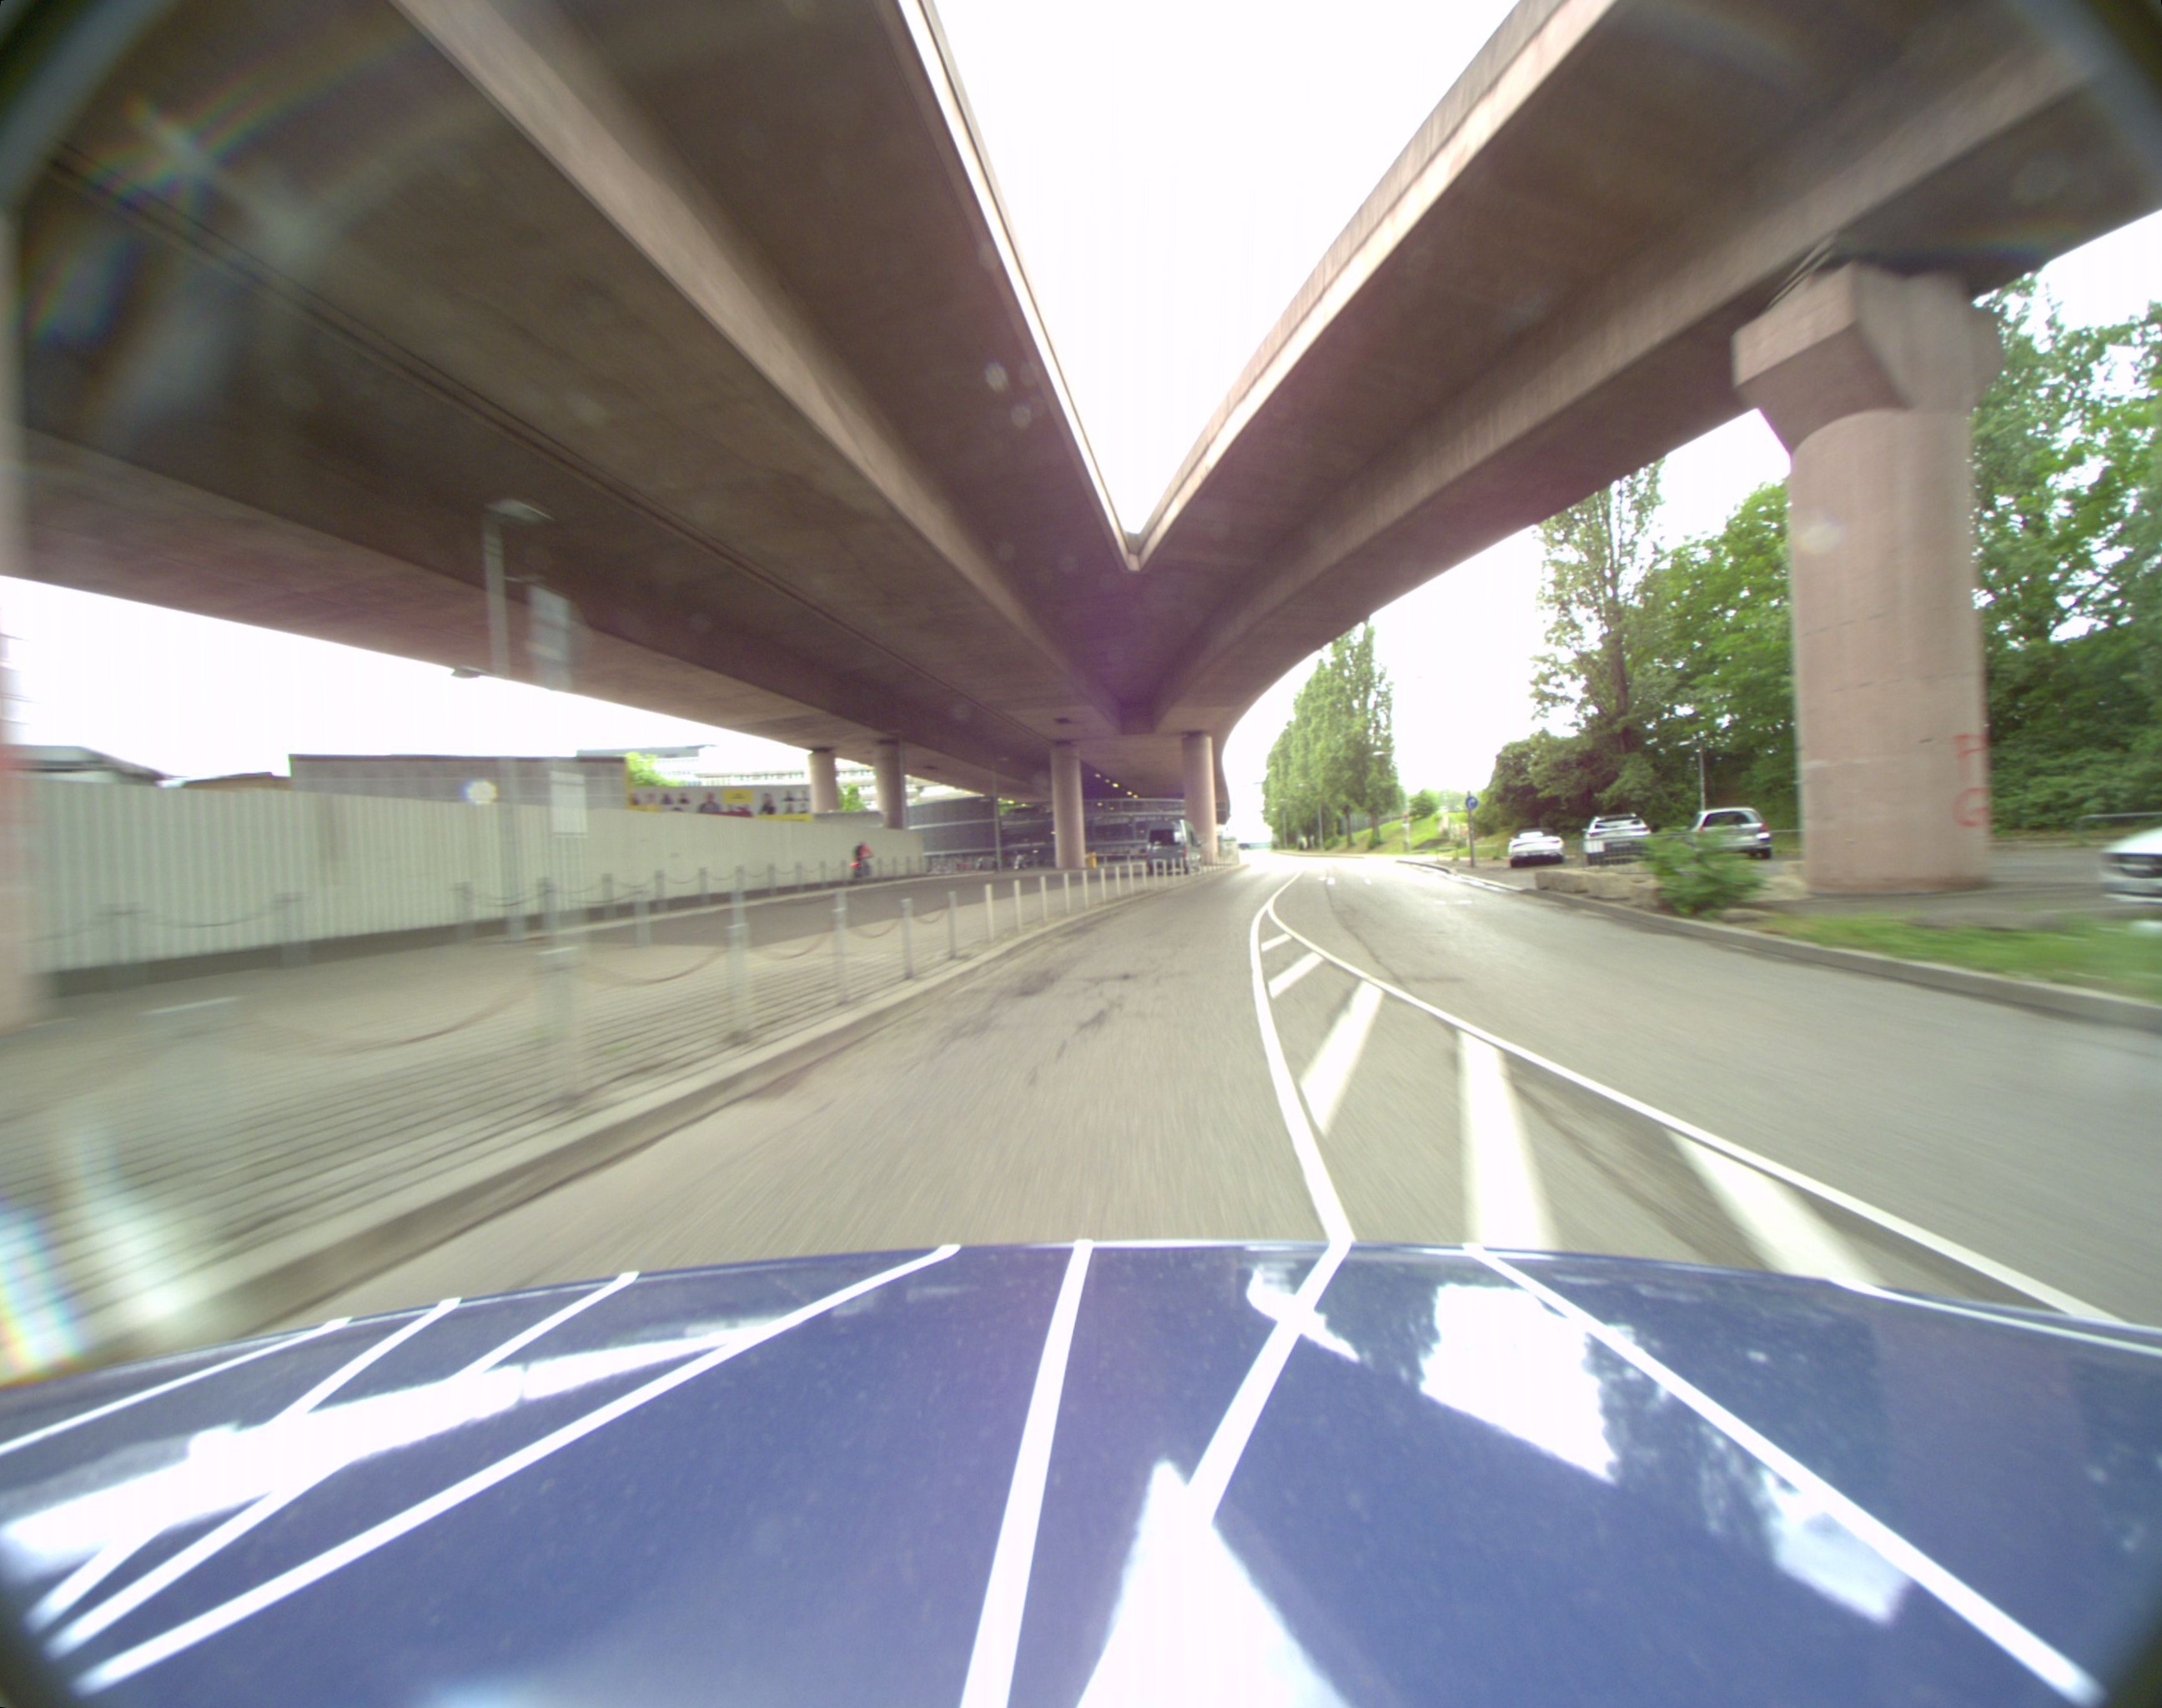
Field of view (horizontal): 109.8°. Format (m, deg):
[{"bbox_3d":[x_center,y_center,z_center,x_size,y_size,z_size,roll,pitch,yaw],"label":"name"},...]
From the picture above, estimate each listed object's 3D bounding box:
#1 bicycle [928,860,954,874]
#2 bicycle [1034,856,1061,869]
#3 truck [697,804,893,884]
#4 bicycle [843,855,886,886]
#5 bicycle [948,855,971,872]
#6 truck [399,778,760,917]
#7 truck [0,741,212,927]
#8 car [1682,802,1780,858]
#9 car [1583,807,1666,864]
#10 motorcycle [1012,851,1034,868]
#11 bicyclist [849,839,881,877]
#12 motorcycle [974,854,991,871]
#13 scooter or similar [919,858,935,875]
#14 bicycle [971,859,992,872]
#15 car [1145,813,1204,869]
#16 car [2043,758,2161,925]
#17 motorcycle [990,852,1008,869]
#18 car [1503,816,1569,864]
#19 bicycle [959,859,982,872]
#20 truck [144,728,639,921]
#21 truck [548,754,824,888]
[{"bbox_3d":[-11.109,1.000,60.415,2.059,1.017,0.396,-3,-1,17],"label":"bicycle"},{"bbox_3d":[-2.578,0.675,59.005,2.017,0.920,0.419,-3,-1,3],"label":"bicycle"},{"bbox_3d":[-16.689,-0.648,44.951,10.315,4.279,3.005,-2,1,-36],"label":"truck"},{"bbox_3d":[-8.219,0.596,28.953,0.803,1.091,2.132,-1,1,6],"label":"bicycle"},{"bbox_3d":[-9.063,0.701,56.723,0.622,1.098,2.324,1,-4,-39],"label":"bicycle"},{"bbox_3d":[-17.138,-0.315,26.921,10.083,4.159,2.891,-2,1,-36],"label":"truck"},{"bbox_3d":[-20.271,-0.332,11.551,8.733,2.927,3.139,-1,2,-35],"label":"truck"},{"bbox_3d":[19.133,-0.701,22.516,1.788,1.445,3.753,-3,1,35],"label":"car"},{"bbox_3d":[18.805,-0.691,26.477,1.996,1.573,4.407,-7,-1,33],"label":"car"},{"bbox_3d":[-4.194,0.407,54.881,0.783,1.227,2.540,-2,-1,15],"label":"motorcycle"},{"bbox_3d":[-8.226,0.133,28.947,0.797,1.397,1.067,-1,1,6],"label":"bicyclist"},{"bbox_3d":[-7.185,0.613,55.575,0.573,1.098,2.333,-2,-4,9],"label":"motorcycle"},{"bbox_3d":[-12.061,0.961,59.297,0.545,1.210,1.676,0,-4,-37],"label":"scooter or similar"},{"bbox_3d":[-8.958,1.025,68.653,1.787,1.072,0.437,-3,-1,1],"label":"bicycle"},{"bbox_3d":[4.869,-0.638,38.663,1.996,2.598,6.081,-2,0,16],"label":"car"},{"bbox_3d":[12.471,-0.307,6.745,4.385,1.596,1.957,-5,-1,25],"label":"car"},{"bbox_3d":[-5.963,0.458,55.209,0.544,1.098,2.333,-3,-4,12],"label":"motorcycle"},{"bbox_3d":[18.348,-0.601,30.594,1.996,1.471,4.835,-7,0,32],"label":"car"},{"bbox_3d":[-8.695,0.894,59.863,1.732,0.976,0.437,-3,-1,10],"label":"bicycle"},{"bbox_3d":[-18.492,-0.787,21.663,9.743,4.417,3.139,-2,1,-38],"label":"truck"},{"bbox_3d":[-16.285,-1.327,31.941,9.743,4.895,3.139,-2,1,-38],"label":"truck"}]
